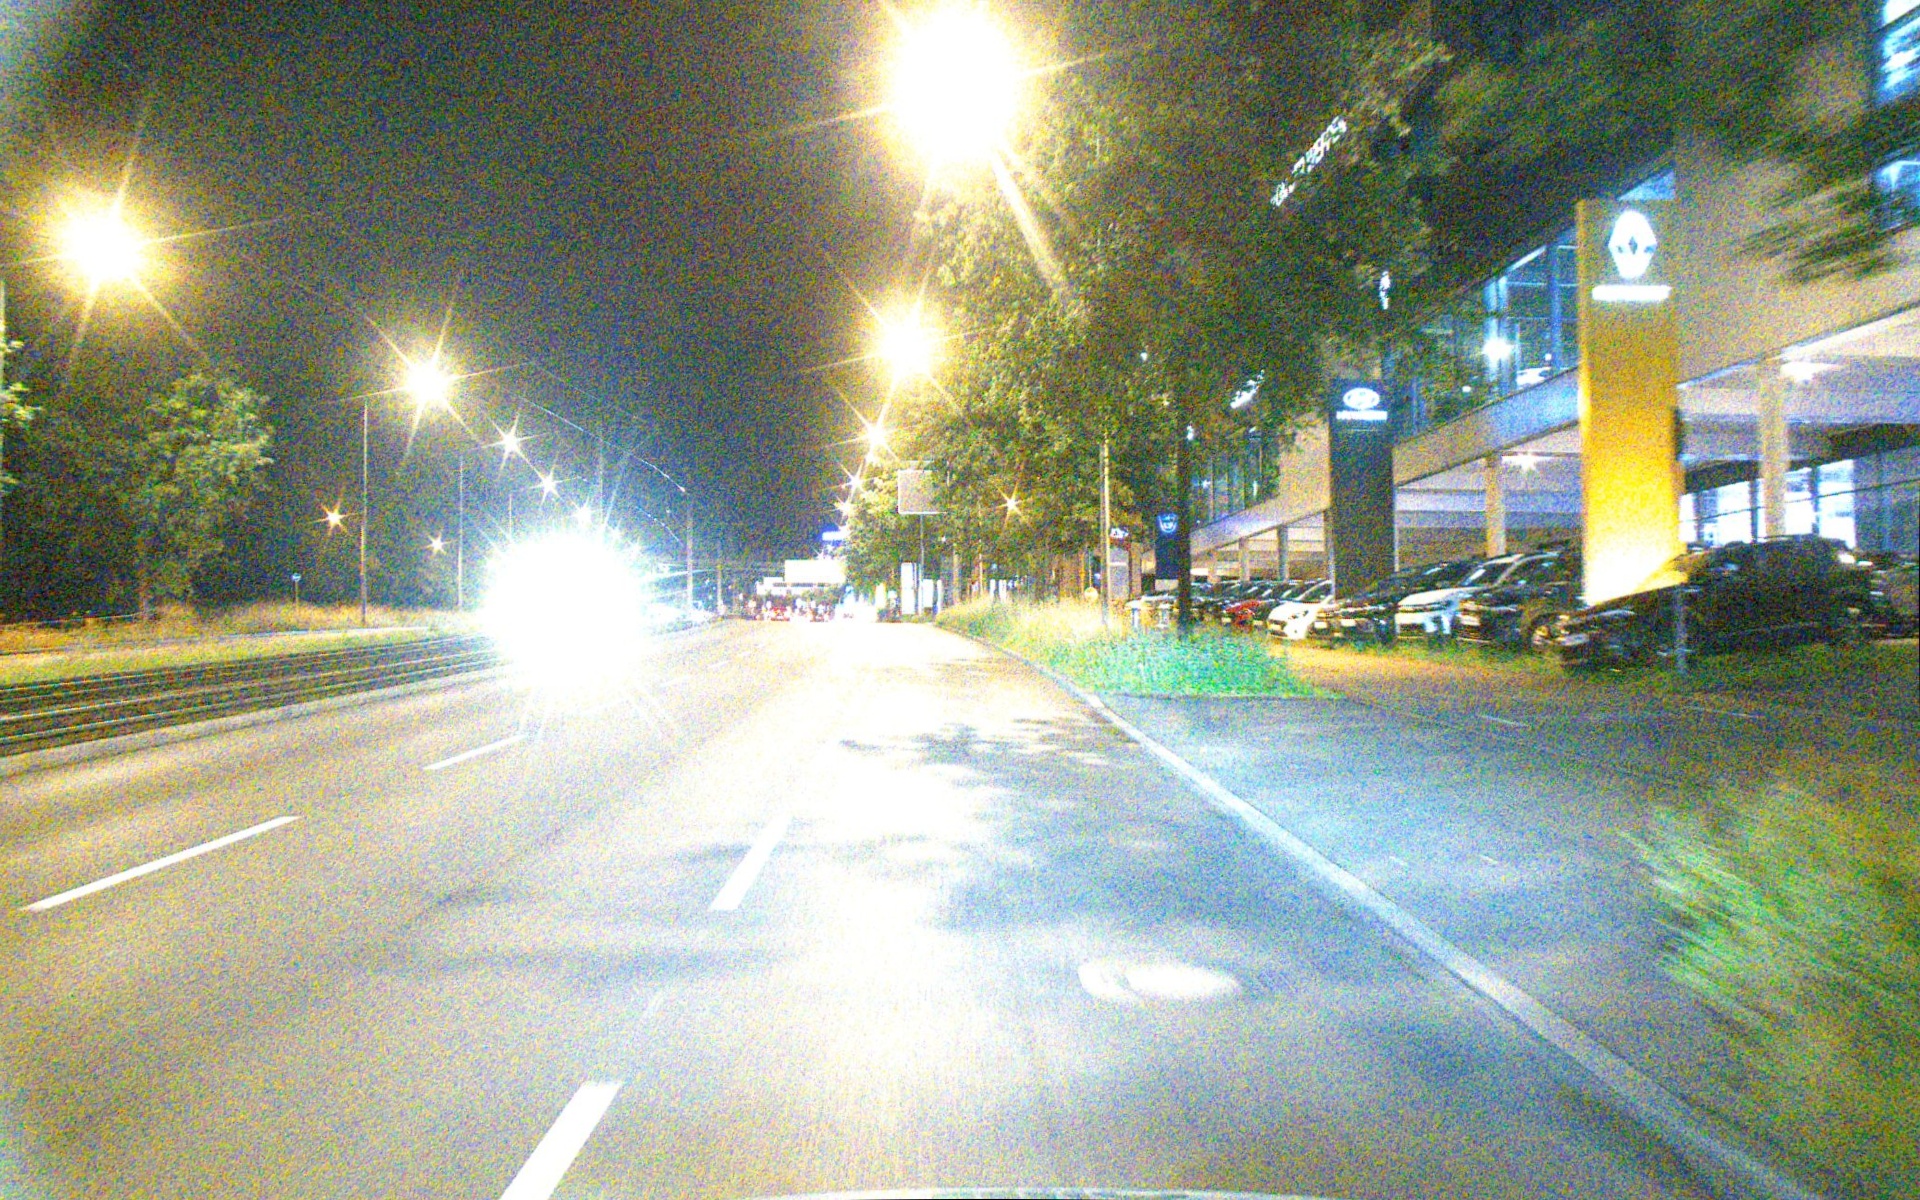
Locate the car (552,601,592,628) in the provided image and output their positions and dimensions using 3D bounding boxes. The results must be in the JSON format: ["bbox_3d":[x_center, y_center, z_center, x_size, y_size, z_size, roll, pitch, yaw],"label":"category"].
[{"bbox_3d":[-25.502,0.959,108.812,1.744,1.743,4.224,0,0,-2],"label":"car"}]

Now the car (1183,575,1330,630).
[{"bbox_3d":[8.860,0.059,49.525,3.919,1.405,1.802,-3,1,-13],"label":"car"}]

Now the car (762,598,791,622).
[{"bbox_3d":[-16.036,0.900,144.621,2.217,2.049,4.823,0,0,-3],"label":"car"}]

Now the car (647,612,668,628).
[{"bbox_3d":[-31.808,2.091,173.960,1.956,1.622,3.993,-2,0,-8],"label":"car"}]

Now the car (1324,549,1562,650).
[{"bbox_3d":[9.418,-0.030,32.358,4.011,1.595,1.848,-5,1,-13],"label":"car"}]

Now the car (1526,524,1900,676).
[{"bbox_3d":[9.872,-0.023,21.793,4.130,1.692,1.954,-3,1,-13],"label":"car"}]

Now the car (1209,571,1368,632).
[{"bbox_3d":[9.163,0.029,46.195,3.963,1.397,1.816,-4,1,-19],"label":"car"}]

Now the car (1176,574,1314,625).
[{"bbox_3d":[8.940,-0.035,51.850,3.937,1.416,1.812,-2,2,-25],"label":"car"}]

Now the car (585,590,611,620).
[{"bbox_3d":[-35.537,0.495,162.192,2.110,2.717,6.934,-3,0,-15],"label":"car"}]

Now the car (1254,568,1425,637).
[{"bbox_3d":[9.415,0.047,41.098,3.741,1.478,1.710,-3,1,-17],"label":"car"}]

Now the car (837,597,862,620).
[{"bbox_3d":[-10.935,0.850,164.107,2.379,2.150,4.823,0,0,-3],"label":"car"}]

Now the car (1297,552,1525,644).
[{"bbox_3d":[9.744,-0.040,35.851,4.384,1.574,1.764,-5,0,-12],"label":"car"}]

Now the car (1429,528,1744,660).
[{"bbox_3d":[10.118,-0.114,26.833,4.384,1.841,1.993,-3,1,-13],"label":"car"}]

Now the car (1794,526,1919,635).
[{"bbox_3d":[15.123,-0.389,24.717,1.705,1.537,4.378,-3,-1,-41],"label":"car"}]

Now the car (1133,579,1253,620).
[{"bbox_3d":[8.453,-0.031,59.982,3.929,1.448,1.898,0,1,-20],"label":"car"}]

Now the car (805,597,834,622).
[{"bbox_3d":[-12.073,0.820,142.587,2.309,2.166,4.823,0,0,-3],"label":"car"}]

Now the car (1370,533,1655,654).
[{"bbox_3d":[9.857,-0.136,29.635,4.385,1.716,1.993,-5,1,-13],"label":"car"}]

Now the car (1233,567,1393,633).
[{"bbox_3d":[9.285,0.001,43.551,3.707,1.402,1.709,-5,1,-16],"label":"car"}]

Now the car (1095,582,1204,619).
[{"bbox_3d":[7.731,0.039,67.640,4.055,1.445,1.868,1,-1,-16],"label":"car"}]

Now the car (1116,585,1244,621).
[{"bbox_3d":[8.354,0.106,62.652,4.575,1.286,1.930,-1,1,-28],"label":"car"}]

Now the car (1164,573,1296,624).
[{"bbox_3d":[8.916,-0.058,54.640,3.932,1.495,1.821,-3,1,-22],"label":"car"}]
